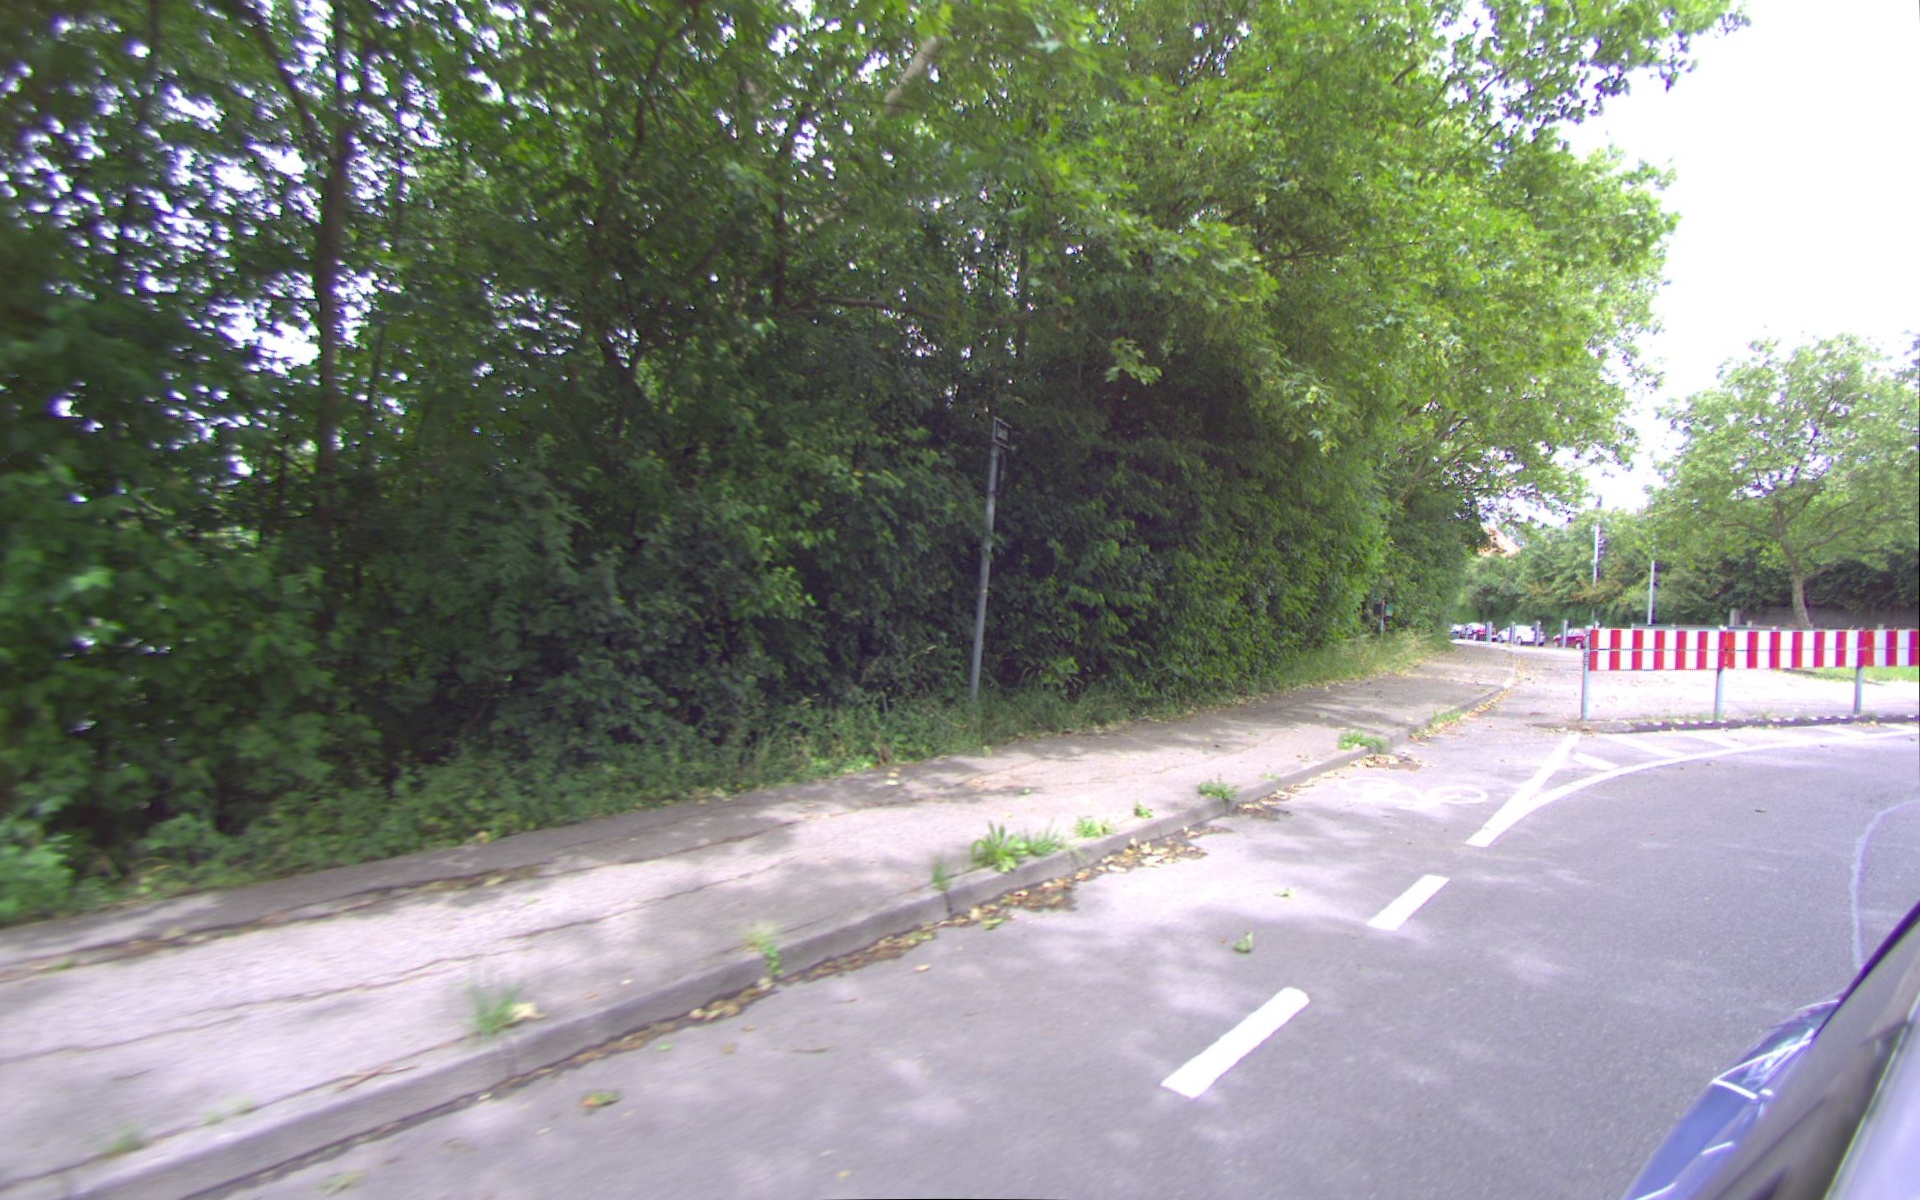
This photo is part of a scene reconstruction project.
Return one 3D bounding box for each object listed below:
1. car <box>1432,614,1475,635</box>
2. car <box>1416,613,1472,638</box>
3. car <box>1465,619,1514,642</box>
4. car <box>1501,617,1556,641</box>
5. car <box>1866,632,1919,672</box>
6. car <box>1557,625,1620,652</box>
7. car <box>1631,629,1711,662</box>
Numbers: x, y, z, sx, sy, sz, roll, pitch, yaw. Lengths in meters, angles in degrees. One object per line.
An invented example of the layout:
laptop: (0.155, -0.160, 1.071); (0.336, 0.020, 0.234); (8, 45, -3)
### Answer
car: (41.685, 2.069, 85.562); (1.655, 1.523, 3.832); (5, 0, -1)
car: (33.594, 1.746, 70.335); (1.764, 1.446, 4.146); (5, 0, 0)
car: (41.604, 2.372, 79.554); (1.655, 1.523, 3.832); (5, 0, -1)
car: (41.460, 2.111, 73.895); (1.655, 1.523, 3.832); (5, 0, -1)
car: (42.067, 2.339, 43.783); (1.763, 1.636, 4.219); (5, 0, -2)
car: (41.614, 2.528, 67.078); (1.655, 1.523, 3.832); (5, 0, -1)
car: (41.629, 2.645, 59.392); (1.764, 1.624, 4.037); (3, 0, 0)
